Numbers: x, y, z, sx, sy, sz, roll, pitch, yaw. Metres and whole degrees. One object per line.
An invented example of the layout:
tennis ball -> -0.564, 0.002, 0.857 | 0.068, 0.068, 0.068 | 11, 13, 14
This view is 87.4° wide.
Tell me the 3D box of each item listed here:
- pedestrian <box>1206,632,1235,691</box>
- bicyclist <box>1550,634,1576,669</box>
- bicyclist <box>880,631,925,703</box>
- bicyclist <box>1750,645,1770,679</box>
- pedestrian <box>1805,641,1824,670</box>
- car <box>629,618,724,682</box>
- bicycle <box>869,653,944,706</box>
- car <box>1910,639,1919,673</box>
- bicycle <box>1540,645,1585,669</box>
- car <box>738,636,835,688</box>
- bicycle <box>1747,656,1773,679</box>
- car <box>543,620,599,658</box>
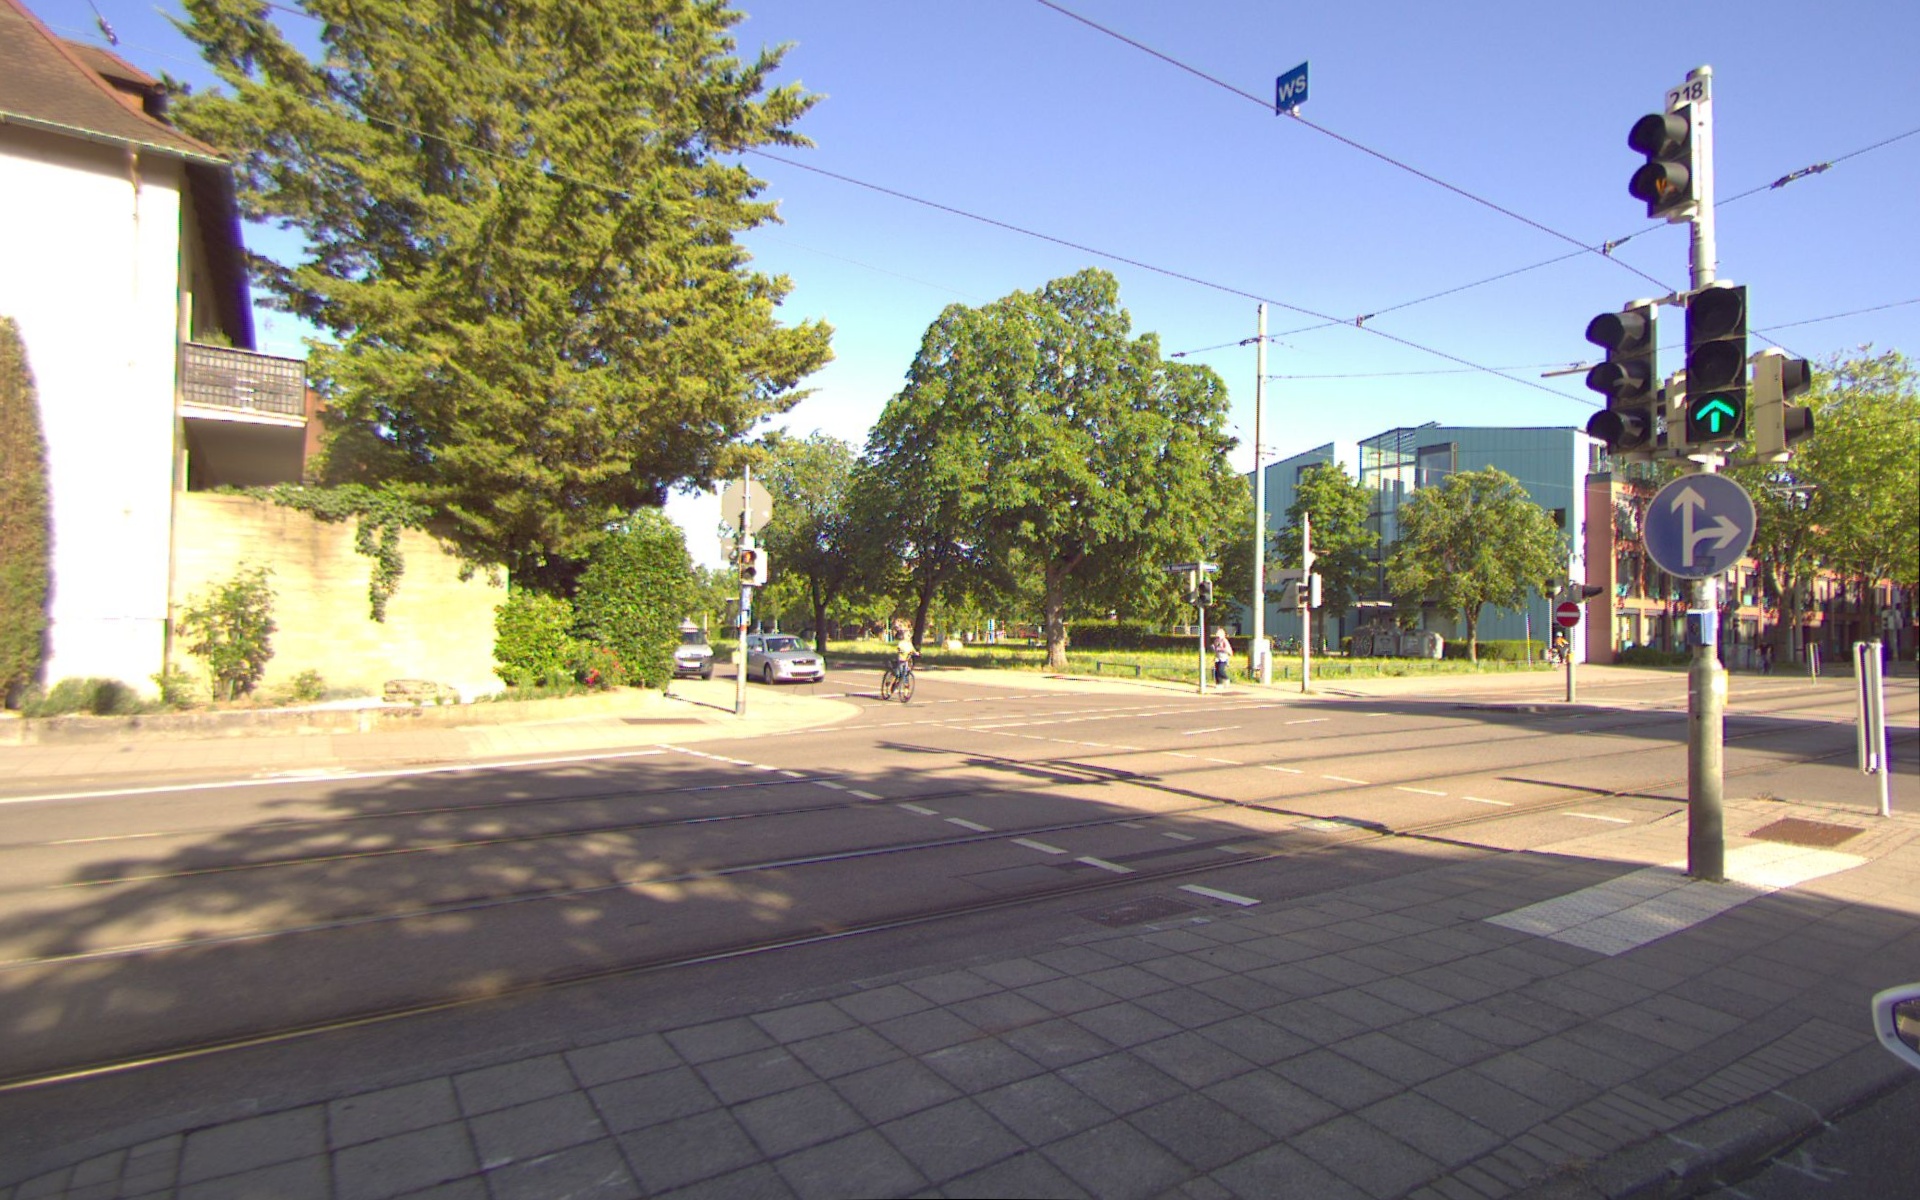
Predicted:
pedestrian -> 7.163, 1.684, 27.648 | 0.665, 1.577, 0.624 | 2, 0, 7
bicyclist -> 30.649, 2.609, 51.089 | 0.915, 1.715, 0.606 | 2, 0, -9
bicyclist -> -1.354, 1.564, 23.650 | 0.886, 1.644, 0.556 | 2, -2, -27
bicyclist -> 40.818, 3.153, 51.262 | 0.893, 1.733, 0.583 | 2, -3, -37
pedestrian -> 60.324, 3.909, 70.946 | 0.775, 2.040, 0.902 | 2, 0, -43
car -> -9.036, 1.541, 31.828 | 1.796, 1.891, 4.279 | 2, -2, -31
bicycle -> -1.283, 1.832, 23.502 | 0.918, 1.132, 2.272 | 2, -2, -26
car -> 59.983, 3.390, 61.552 | 5.208, 2.040, 2.003 | 1, -3, -41
bicycle -> 30.639, 2.908, 51.091 | 1.998, 1.144, 0.632 | 2, 0, -9
car -> -5.442, 1.868, 31.123 | 1.794, 1.452, 3.971 | 2, -2, -28
bicycle -> 40.806, 3.455, 51.240 | 1.810, 1.128, 0.582 | 2, -3, -37
car -> -18.888, 1.872, 48.637 | 1.796, 1.765, 4.166 | 2, -2, -31
